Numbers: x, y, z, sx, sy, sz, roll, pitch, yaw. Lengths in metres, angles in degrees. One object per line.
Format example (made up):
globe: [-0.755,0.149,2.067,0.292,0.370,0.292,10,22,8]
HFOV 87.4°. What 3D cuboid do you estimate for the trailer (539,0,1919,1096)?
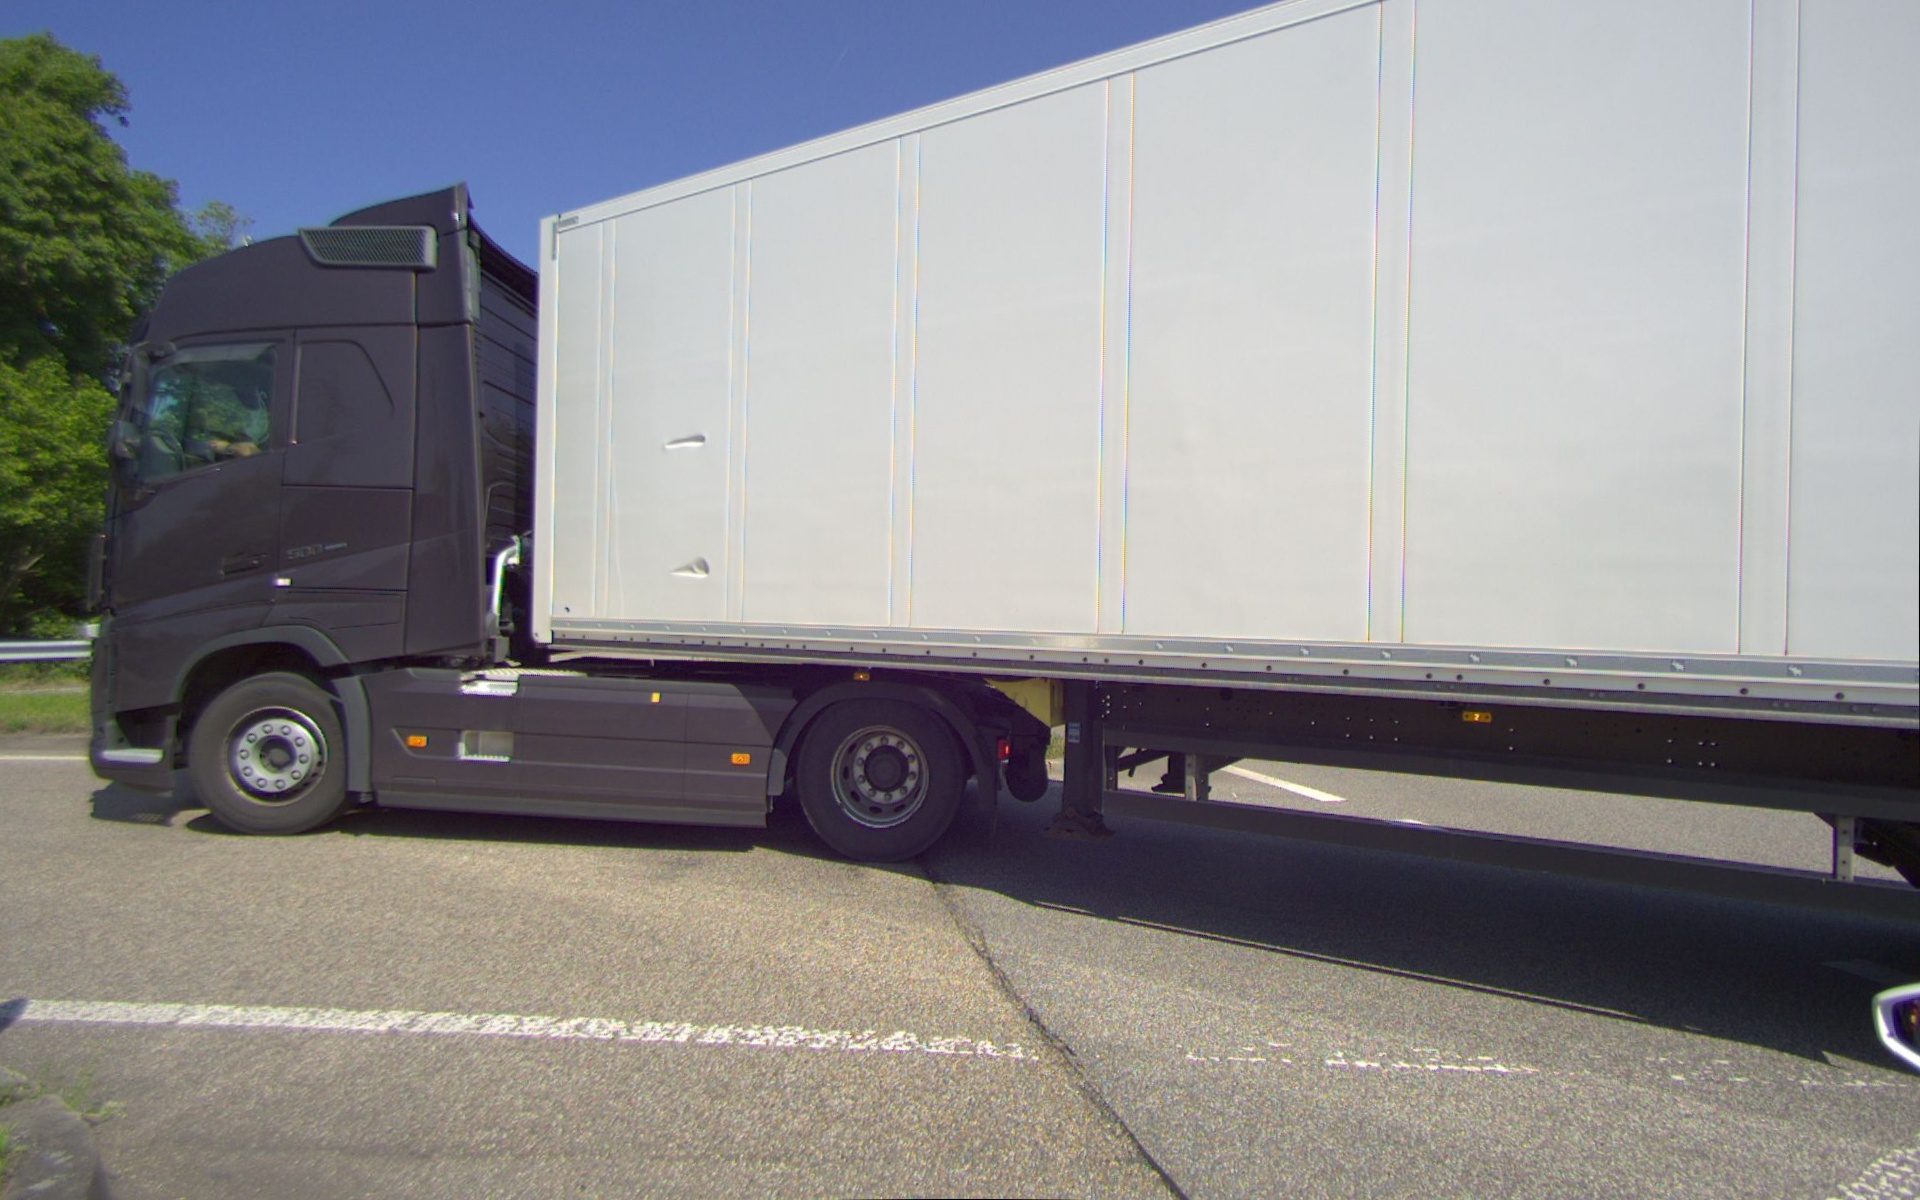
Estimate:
trailer: [3.654,-0.580,4.340,13.742,4.221,2.889,1,0,33]

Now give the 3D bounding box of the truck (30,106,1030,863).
truck: [-2.468,-0.673,7.217,5.850,4.229,2.881,1,0,3]
